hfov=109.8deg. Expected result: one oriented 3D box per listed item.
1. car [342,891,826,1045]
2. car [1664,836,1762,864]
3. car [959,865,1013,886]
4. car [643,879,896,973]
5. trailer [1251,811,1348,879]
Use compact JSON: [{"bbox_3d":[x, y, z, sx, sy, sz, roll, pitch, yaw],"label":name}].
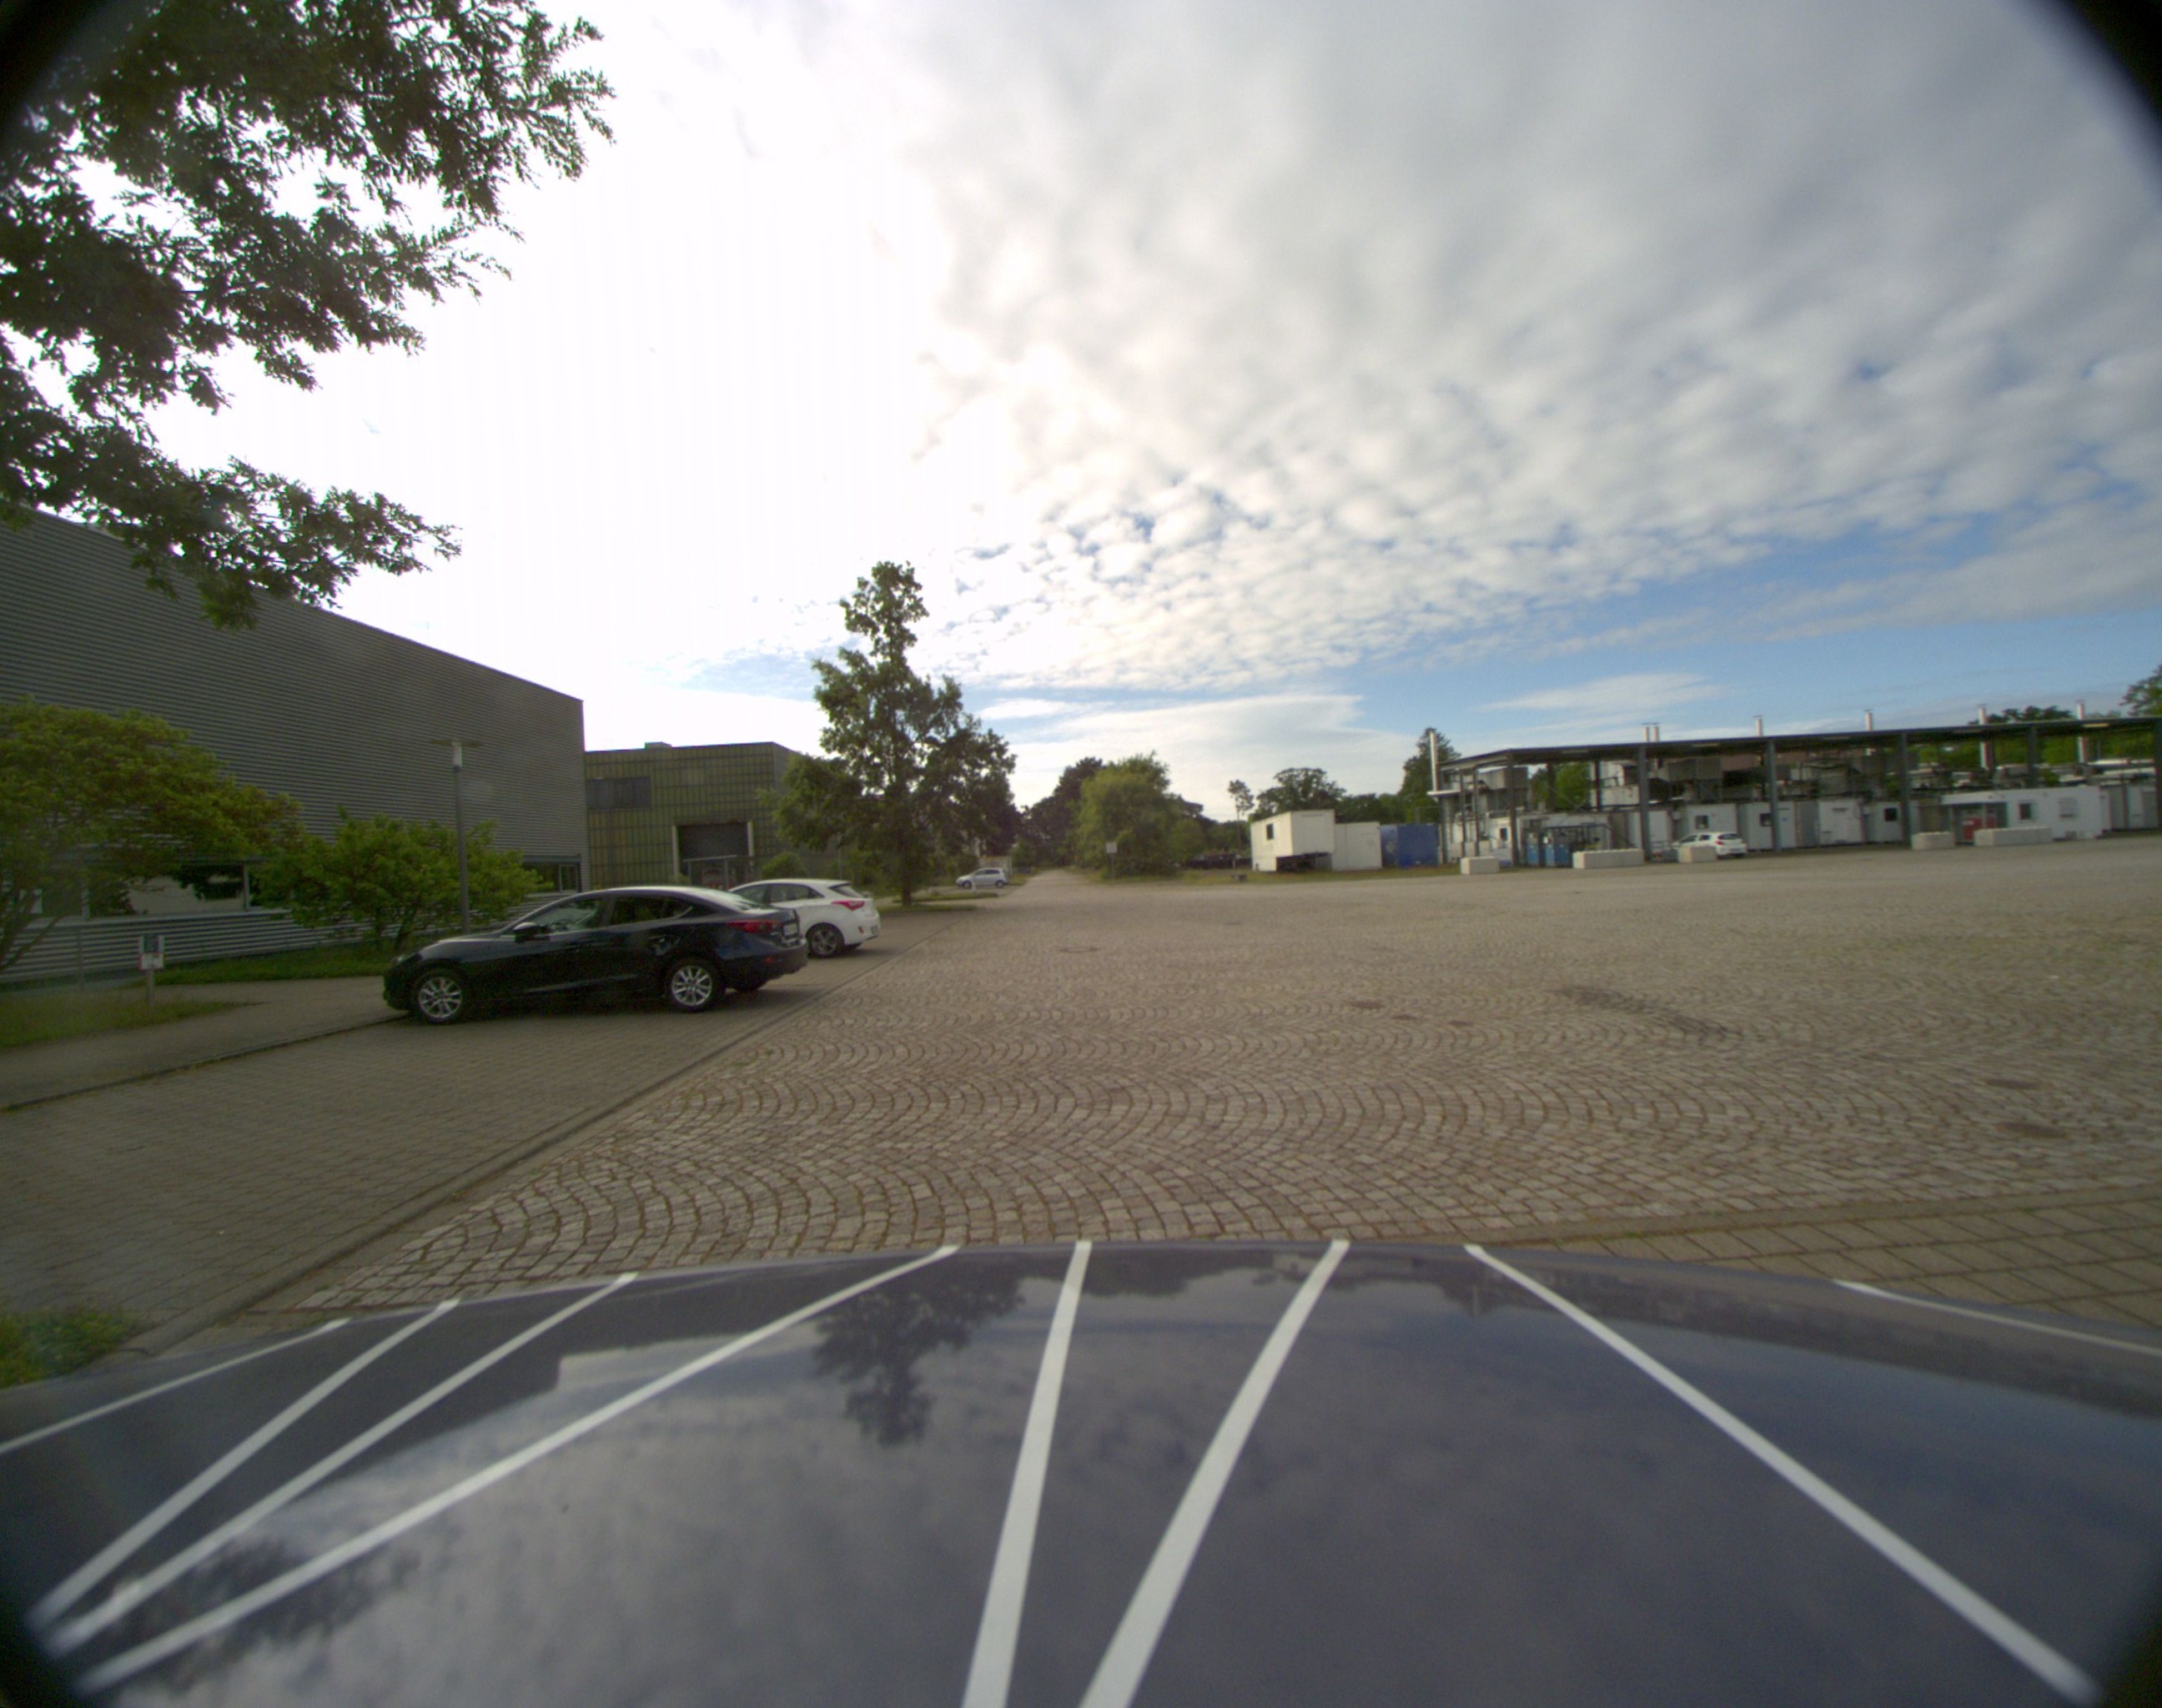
[{"bbox_3d":[-5.644,1.267,9.148,4.476,1.438,1.944,-2,-1,-2],"label":"car"},{"bbox_3d":[34.812,-0.207,42.013,1.933,1.464,3.999,-1,0,-4],"label":"car"},{"bbox_3d":[-7.565,1.700,60.625,4.133,1.615,1.938,-1,0,-4],"label":"car"},{"bbox_3d":[-5.760,1.306,14.470,3.986,1.457,1.882,-2,-1,-2],"label":"car"},{"bbox_3d":[13.314,-0.428,47.582,2.876,3.640,10.779,-3,-1,0],"label":"trailer"}]
